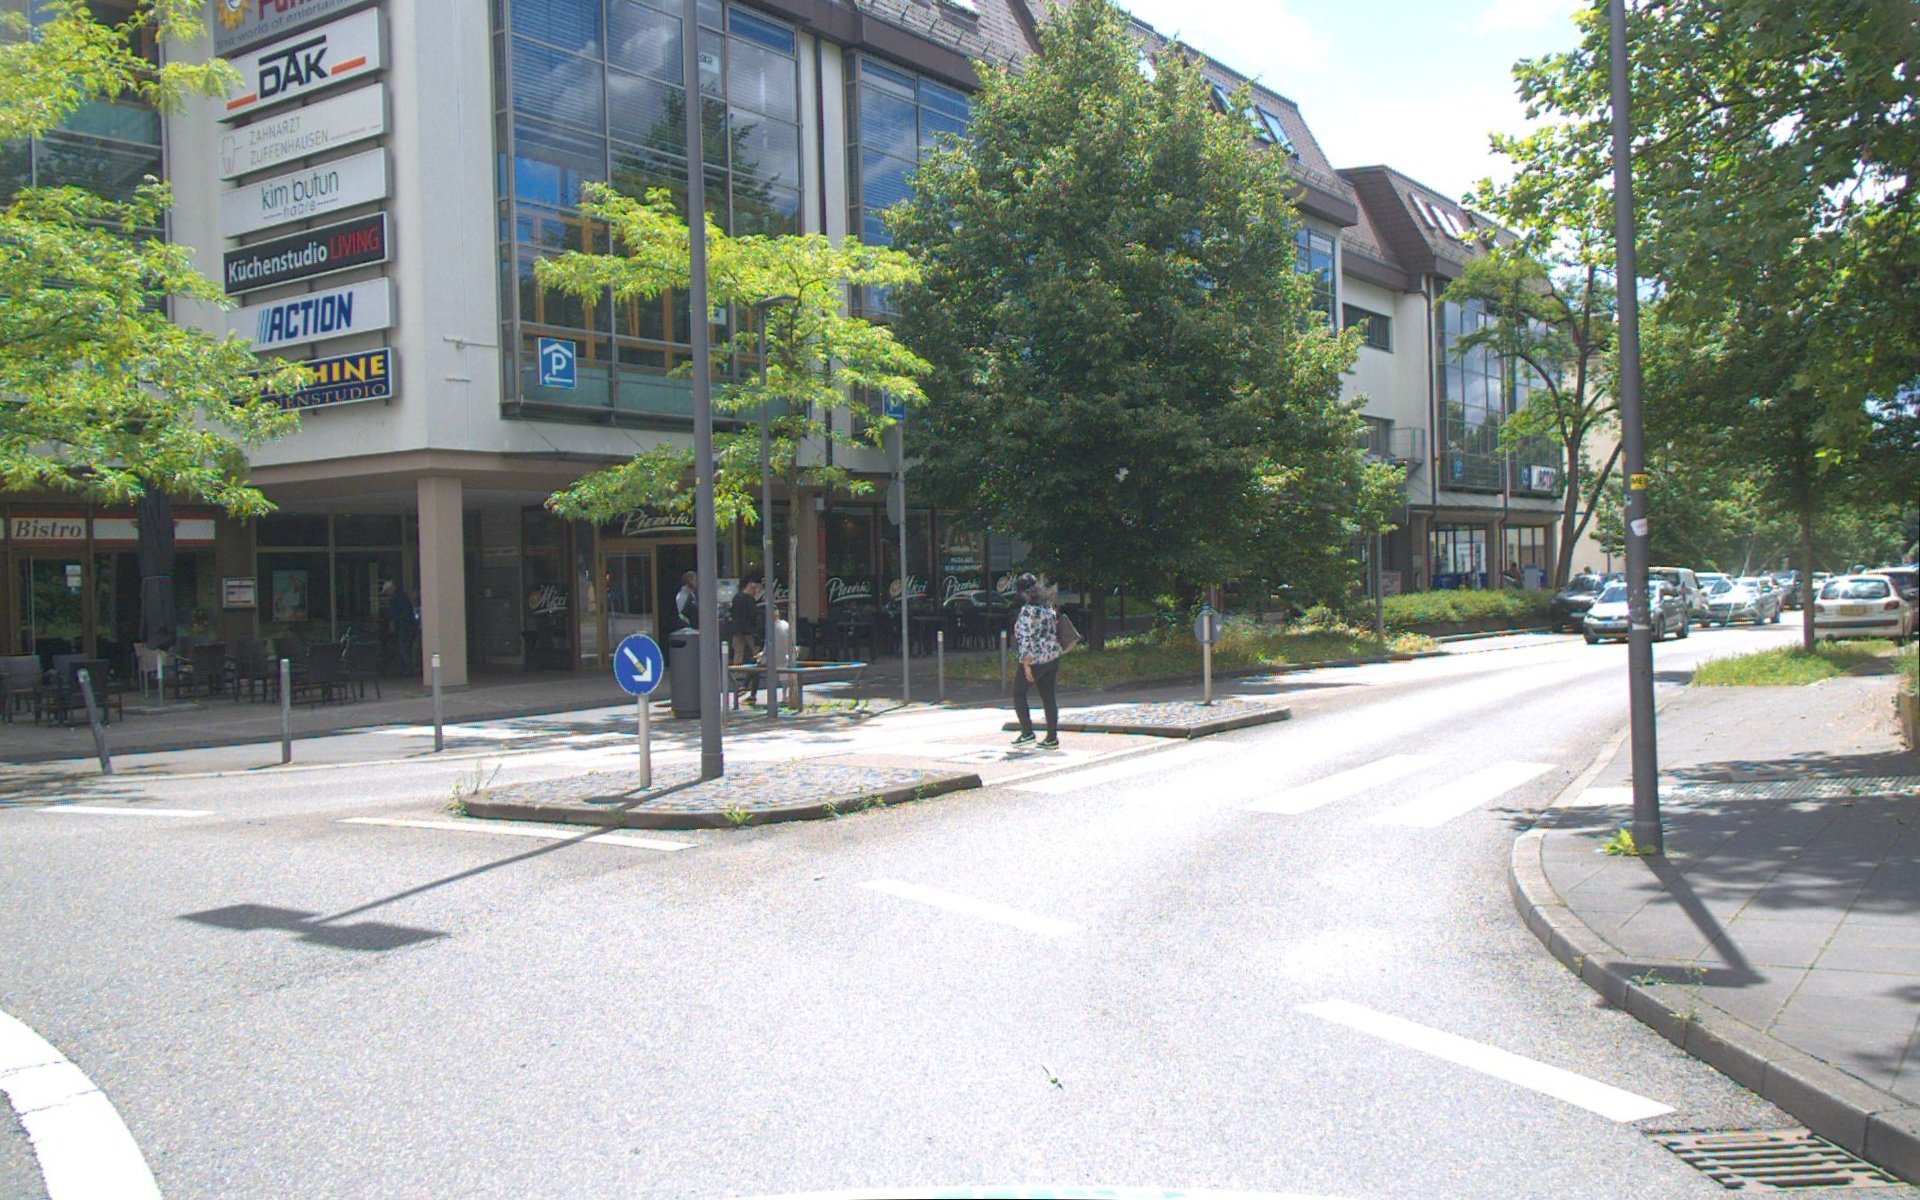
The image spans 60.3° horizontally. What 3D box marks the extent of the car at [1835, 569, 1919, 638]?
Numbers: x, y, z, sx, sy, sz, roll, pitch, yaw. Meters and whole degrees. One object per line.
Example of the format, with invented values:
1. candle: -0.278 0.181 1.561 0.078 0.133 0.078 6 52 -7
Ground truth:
1. car: 21.525 0.050 37.837 1.899 1.512 3.979 0 1 40

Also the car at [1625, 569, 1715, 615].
1. car: 24.768 -0.274 57.615 1.960 1.534 4.568 0 0 35

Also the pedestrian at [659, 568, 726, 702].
1. pedestrian: -3.785 0.480 23.405 0.684 1.850 0.614 0 1 39

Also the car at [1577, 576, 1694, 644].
1. car: 16.755 0.231 40.892 1.957 1.534 4.574 -2 -1 31

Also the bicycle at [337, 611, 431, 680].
1. bicycle: -10.104 0.787 29.042 1.511 1.188 0.494 0 -1 -13

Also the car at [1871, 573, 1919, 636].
1. car: 24.691 0.073 42.099 1.899 1.512 3.979 0 1 40

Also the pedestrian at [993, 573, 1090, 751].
1. pedestrian: 0.739 0.551 15.218 0.749 1.581 0.778 0 0 -10

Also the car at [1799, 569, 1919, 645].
1. car: 18.251 0.120 33.380 1.722 1.353 3.986 -4 -2 35

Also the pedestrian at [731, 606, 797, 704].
1. pedestrian: -2.693 0.743 22.689 0.613 1.307 0.686 0 0 -44

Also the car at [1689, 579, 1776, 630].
1. car: 24.496 0.125 52.372 1.957 1.534 4.574 -1 0 32

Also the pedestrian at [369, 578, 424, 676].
1. pedestrian: -9.938 0.459 29.176 0.604 1.704 0.696 0 0 33

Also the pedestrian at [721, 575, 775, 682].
1. pedestrian: -3.420 0.448 26.740 0.602 1.704 0.698 0 0 20

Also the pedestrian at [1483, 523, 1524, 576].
1. pedestrian: 21.883 -2.017 66.618 1.320 2.049 1.085 -1 -1 32

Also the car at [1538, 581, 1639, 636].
1. car: 18.400 0.218 48.301 1.957 1.534 4.574 0 0 31
